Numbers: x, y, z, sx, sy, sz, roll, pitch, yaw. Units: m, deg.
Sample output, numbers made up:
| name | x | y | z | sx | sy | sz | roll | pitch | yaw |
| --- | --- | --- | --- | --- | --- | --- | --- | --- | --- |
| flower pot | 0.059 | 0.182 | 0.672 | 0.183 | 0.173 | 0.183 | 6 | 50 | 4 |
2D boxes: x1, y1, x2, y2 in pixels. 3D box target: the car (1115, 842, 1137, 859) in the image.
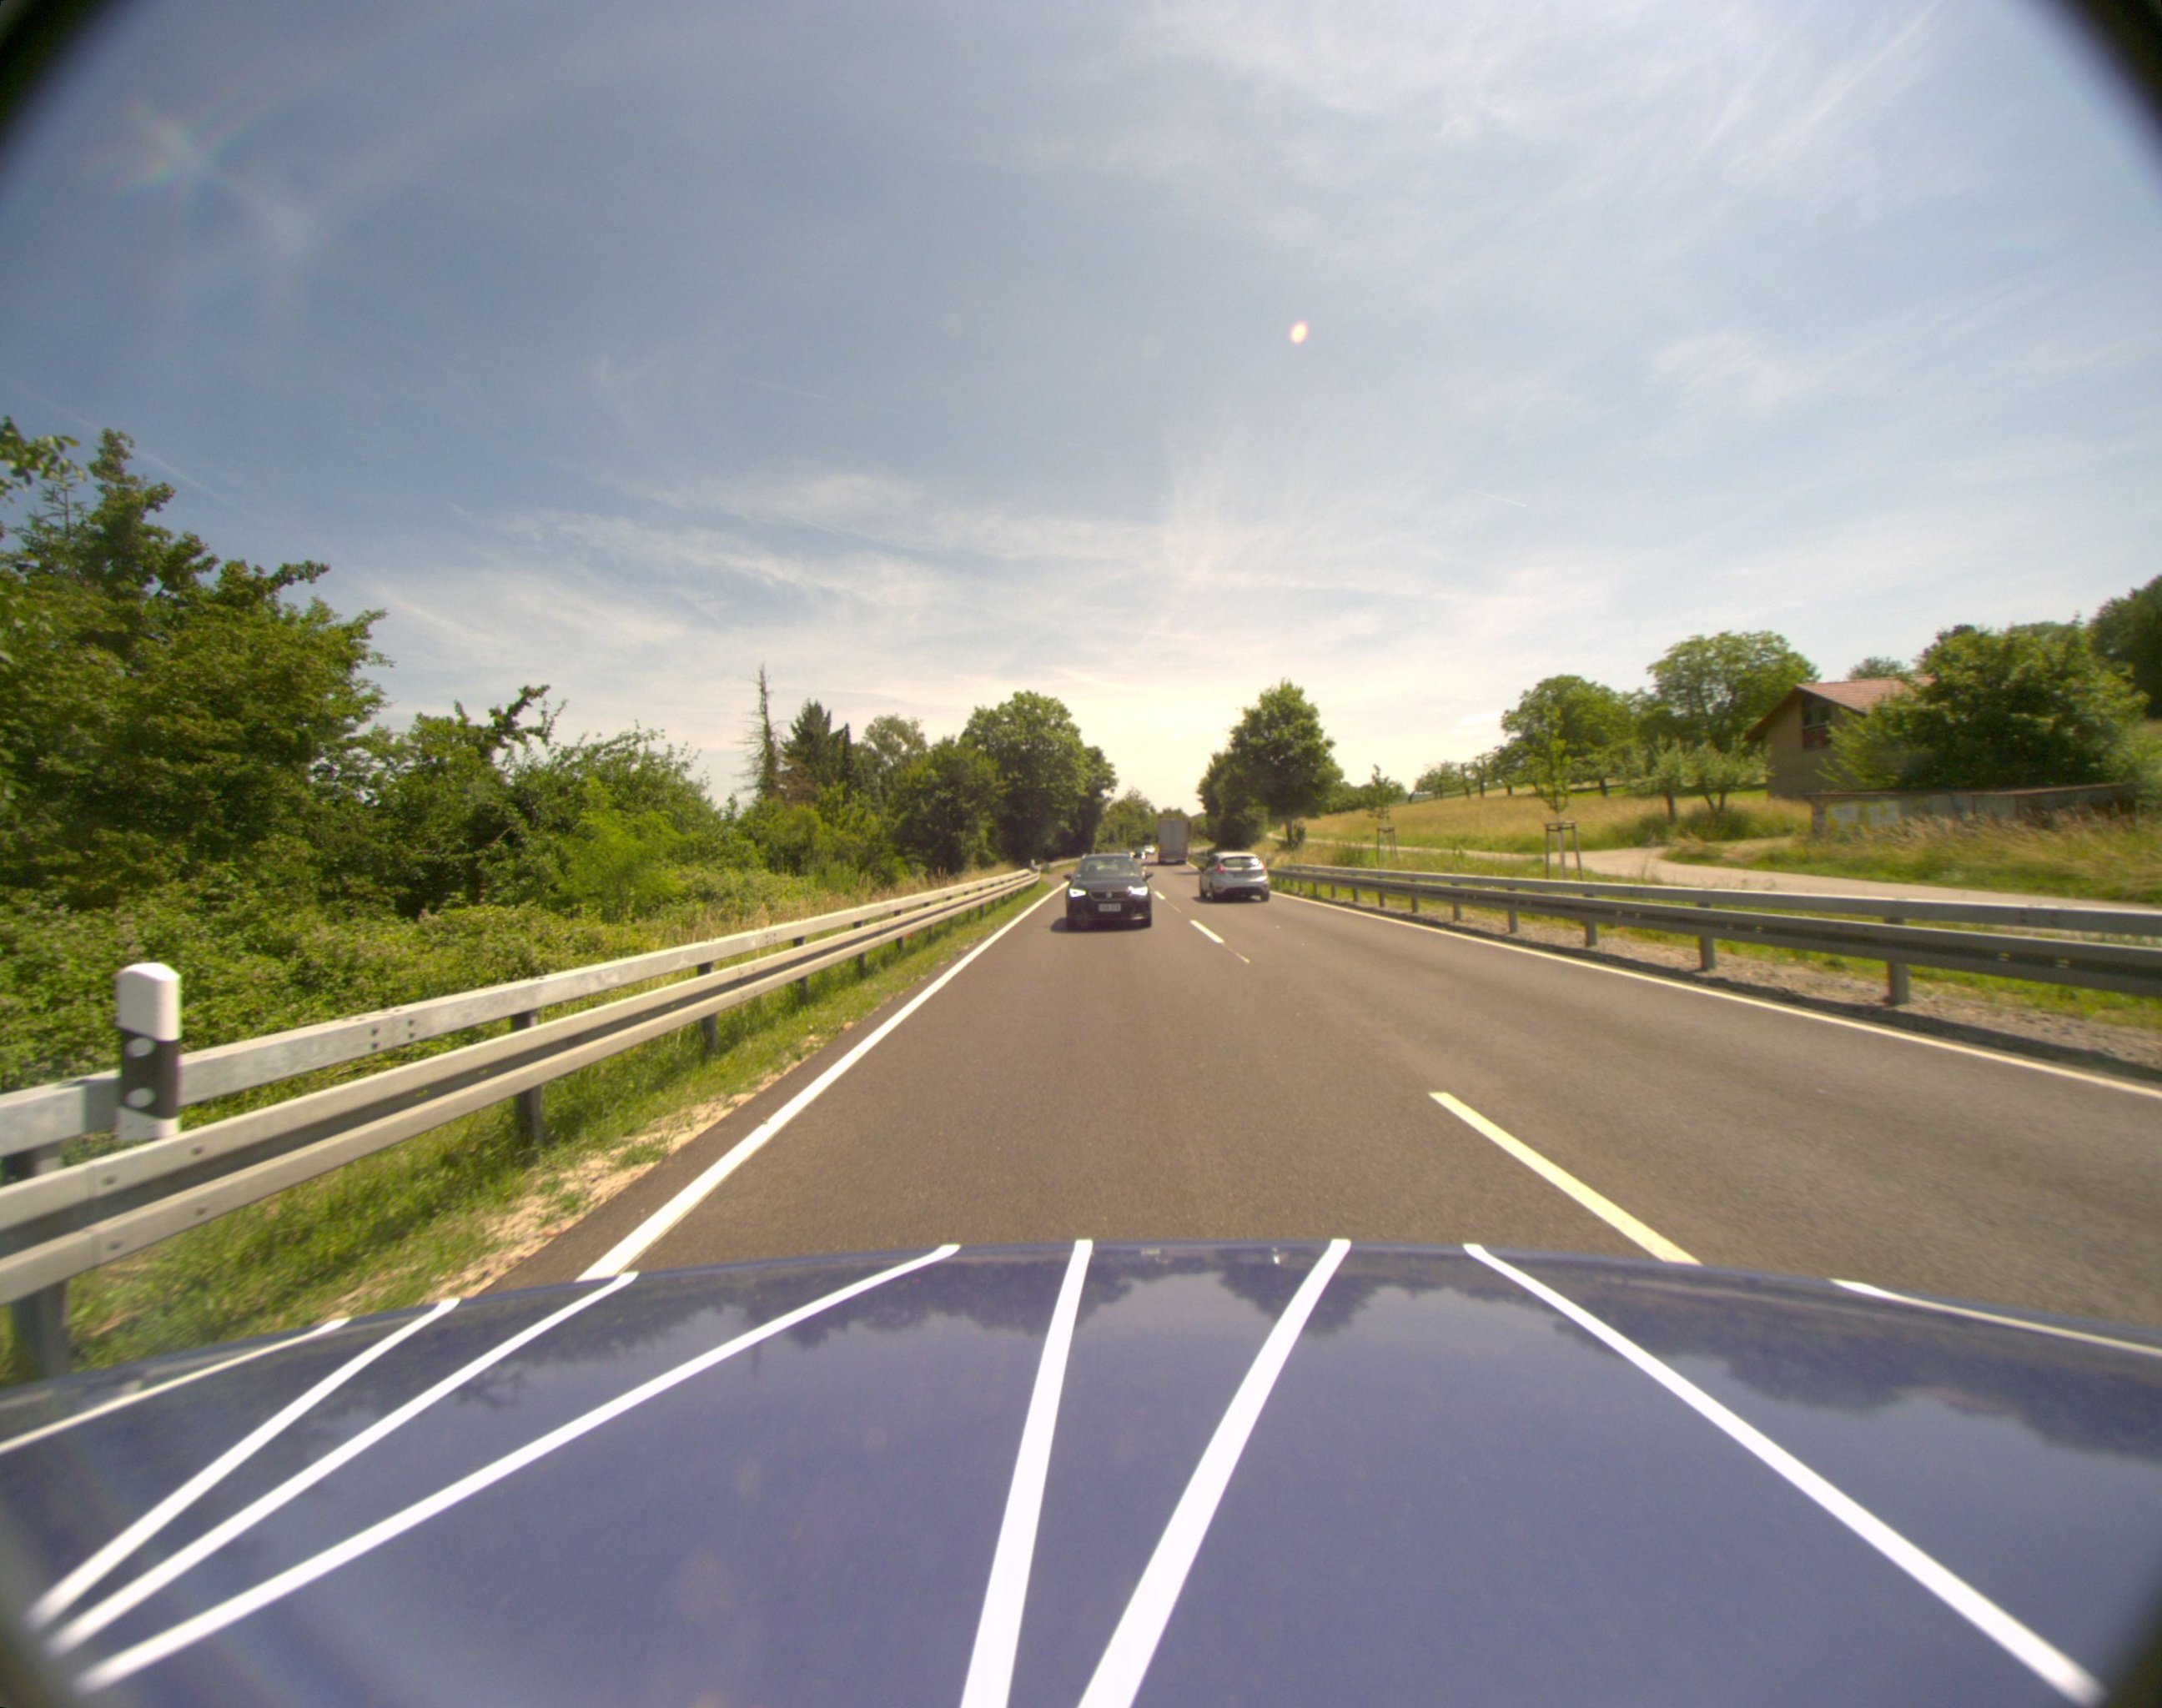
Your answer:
| name | x | y | z | sx | sy | sz | roll | pitch | yaw |
| --- | --- | --- | --- | --- | --- | --- | --- | --- | --- |
| car | 4.688 | -0.365 | 78.880 | 1.882 | 1.698 | 4.002 | -1 | 0 | 8 |

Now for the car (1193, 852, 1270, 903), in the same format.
| name | x | y | z | sx | sy | sz | roll | pitch | yaw |
| --- | --- | --- | --- | --- | --- | --- | --- | --- | --- |
| car | 4.588 | 0.667 | 23.638 | 1.650 | 1.432 | 4.159 | -1 | 0 | 1 |

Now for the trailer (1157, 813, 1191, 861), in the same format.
| name | x | y | z | sx | sy | sz | roll | pitch | yaw |
| --- | --- | --- | --- | --- | --- | --- | --- | --- | --- |
| trailer | 8.769 | -1.526 | 72.868 | 2.451 | 4.160 | 14.018 | -1 | 1 | 4 |

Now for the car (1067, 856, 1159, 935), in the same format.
| name | x | y | z | sx | sy | sz | roll | pitch | yaw |
| --- | --- | --- | --- | --- | --- | --- | --- | --- | --- |
| car | 0.628 | 0.805 | 16.609 | 1.738 | 1.467 | 4.000 | -1 | 0 | 0 |

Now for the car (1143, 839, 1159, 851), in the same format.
| name | x | y | z | sx | sy | sz | roll | pitch | yaw |
| --- | --- | --- | --- | --- | --- | --- | --- | --- | --- |
| car | 11.605 | -1.494 | 125.387 | 1.996 | 2.002 | 4.004 | -1 | 1 | 14 |

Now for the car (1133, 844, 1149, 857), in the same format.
| name | x | y | z | sx | sy | sz | roll | pitch | yaw |
| --- | --- | --- | --- | --- | --- | --- | --- | --- | --- |
| car | 8.277 | -0.423 | 104.354 | 1.882 | 1.698 | 4.003 | -1 | 0 | 9 |
